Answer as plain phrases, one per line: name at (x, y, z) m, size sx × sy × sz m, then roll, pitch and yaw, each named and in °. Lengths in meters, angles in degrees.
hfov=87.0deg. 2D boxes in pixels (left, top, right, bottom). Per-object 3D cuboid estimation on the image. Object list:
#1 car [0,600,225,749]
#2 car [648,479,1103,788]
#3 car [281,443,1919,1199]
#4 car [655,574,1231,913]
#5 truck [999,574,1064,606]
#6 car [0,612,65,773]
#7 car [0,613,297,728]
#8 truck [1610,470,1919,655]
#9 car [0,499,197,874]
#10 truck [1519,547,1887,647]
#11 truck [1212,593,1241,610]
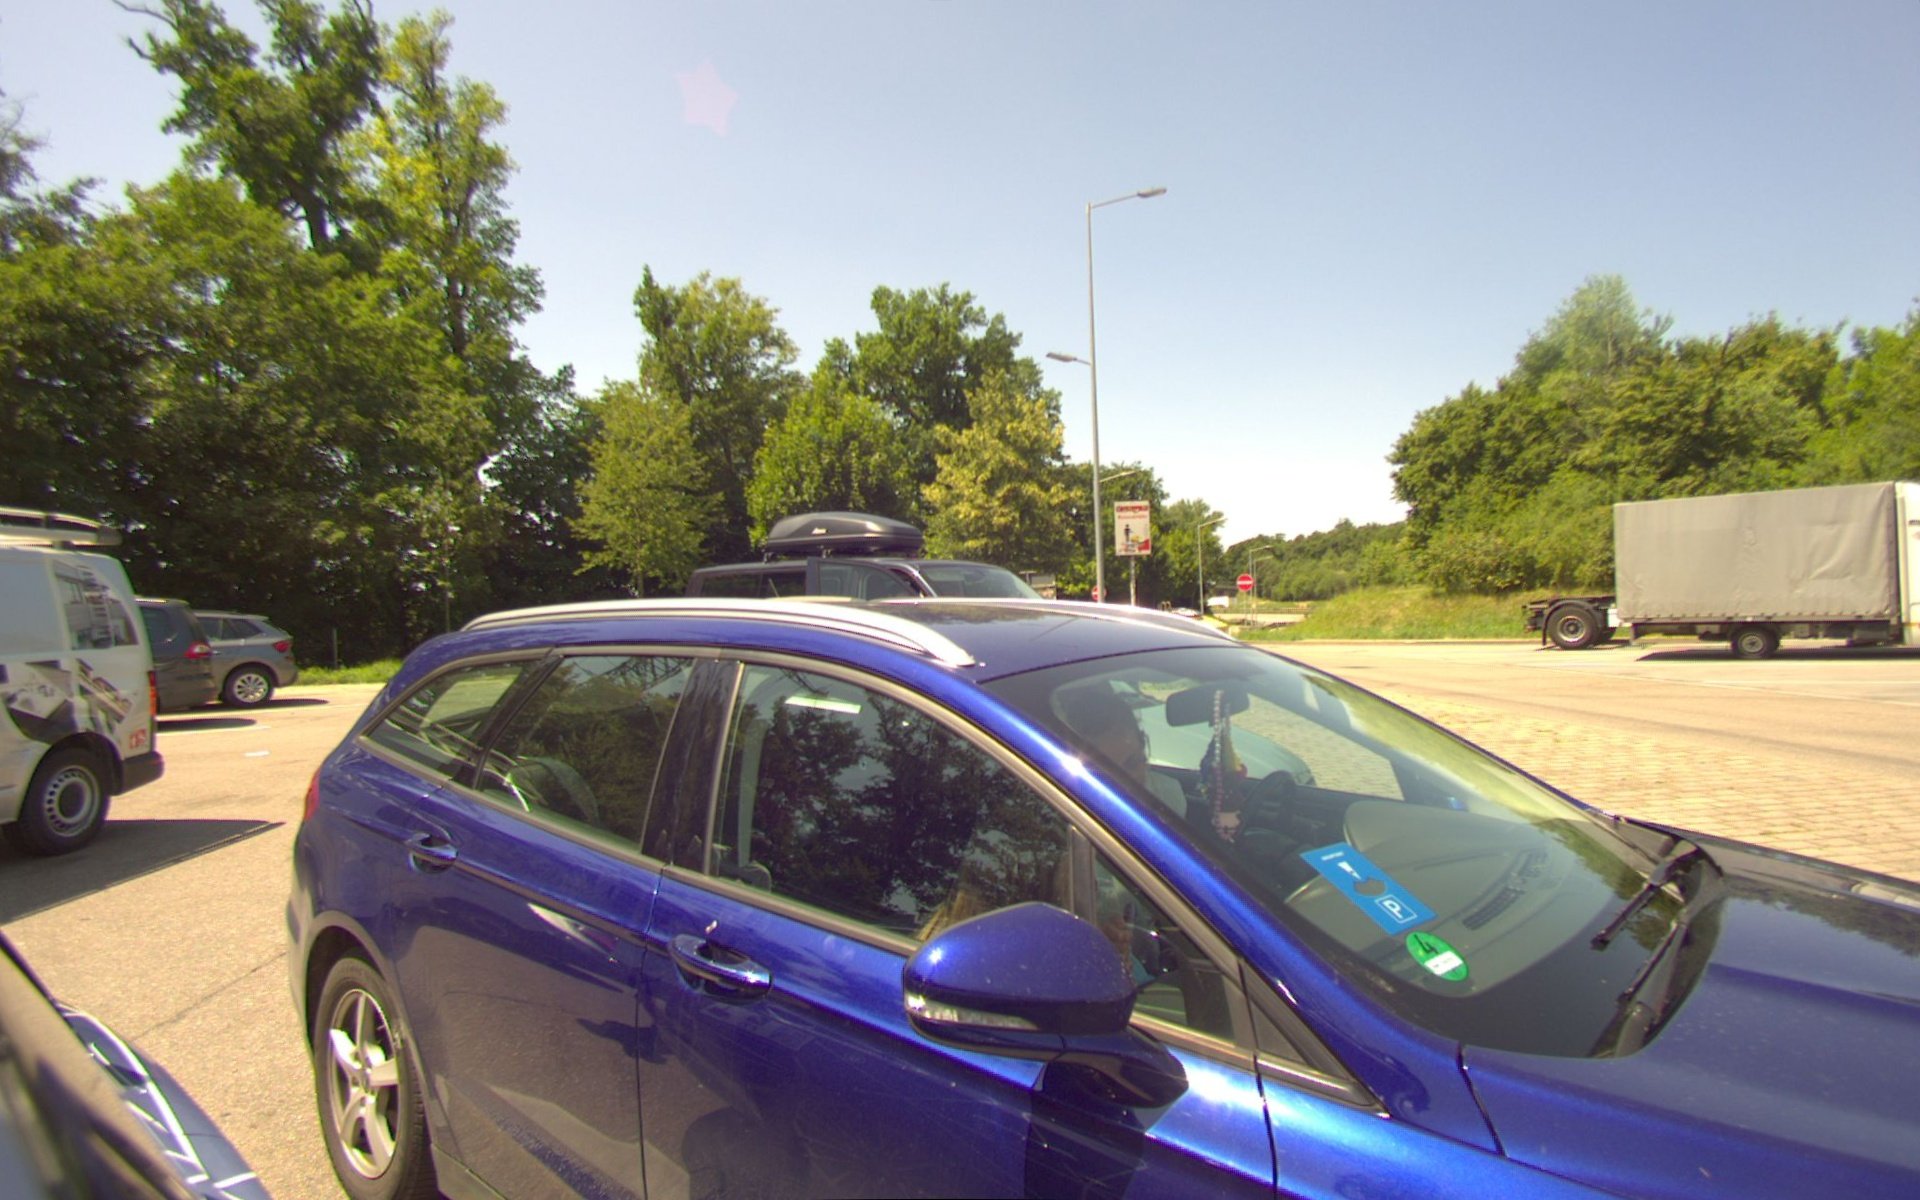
car at (-11.553, 0.883, 12.475) m, size 1.755 × 1.701 × 3.798 m, roll -2°, pitch -1°, yaw 45°
car at (-0.903, 0.314, 9.565) m, size 4.076 × 2.336 × 1.767 m, roll -2°, pitch -1°, yaw 35°
car at (0.261, 0.639, 2.120) m, size 4.411 × 1.429 × 1.721 m, roll -2°, pitch -1°, yaw 41°
car at (-0.246, 0.619, 5.631) m, size 3.112 × 1.370 × 1.326 m, roll -2°, pitch -1°, yaw 41°
truck at (3.455, -0.470, 48.795) m, size 2.866 × 1.386 × 1.158 m, roll -2°, pitch -1°, yaw 22°
car at (-10.452, 0.891, 8.928) m, size 1.848 × 1.465 × 3.722 m, roll -3°, pitch -1°, yaw 45°
car at (-12.533, 0.997, 15.697) m, size 3.535 × 1.513 × 1.708 m, roll -1°, pitch 0°, yaw -42°
truck at (16.600, -0.629, 18.847) m, size 7.253 × 3.175 × 2.148 m, roll -2°, pitch -1°, yaw 41°
car at (-6.255, 0.476, 4.620) m, size 1.816 × 2.121 × 5.440 m, roll 0°, pitch -1°, yaw -5°
truck at (16.891, 0.040, 23.441) m, size 6.613 × 2.029 × 1.973 m, roll -2°, pitch -1°, yaw 41°
truck at (67.530, 0.387, 256.741) m, size 2.805 × 4.148 × 12.005 m, roll -1°, pitch 0°, yaw -6°
